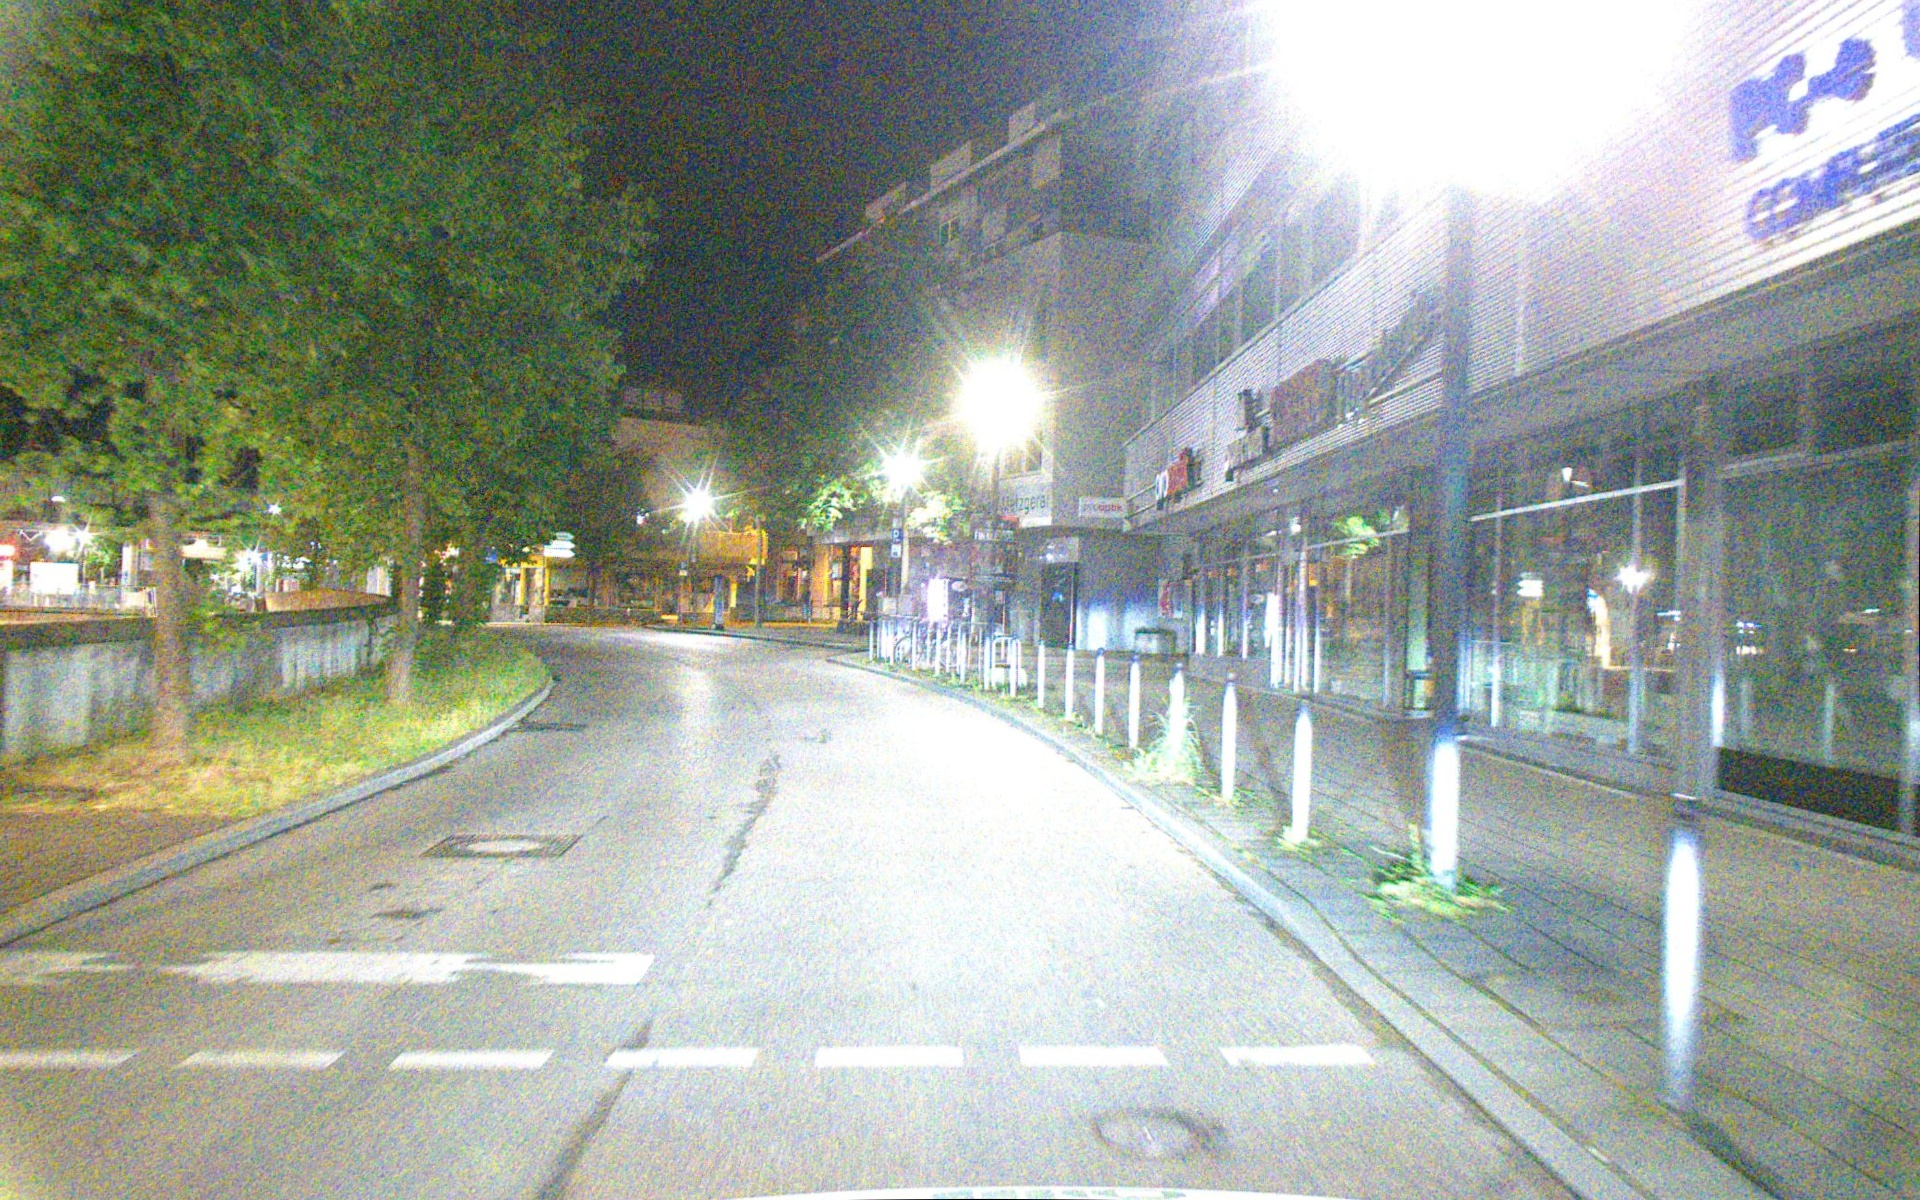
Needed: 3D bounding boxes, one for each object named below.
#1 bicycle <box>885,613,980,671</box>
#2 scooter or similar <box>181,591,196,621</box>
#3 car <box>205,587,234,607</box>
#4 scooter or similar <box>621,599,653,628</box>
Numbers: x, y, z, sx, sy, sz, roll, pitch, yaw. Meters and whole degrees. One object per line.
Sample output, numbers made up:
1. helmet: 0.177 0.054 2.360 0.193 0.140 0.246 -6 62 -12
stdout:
1. bicycle: -0.534 0.826 32.438 1.727 1.081 0.650 2 0 -26
2. scooter or similar: -34.895 0.275 74.815 0.426 1.307 1.133 0 1 -35
3. car: -63.910 -0.265 142.700 1.695 1.574 3.495 0 1 -35
4. scooter or similar: -14.577 0.622 74.576 1.232 1.248 0.593 3 0 -29
